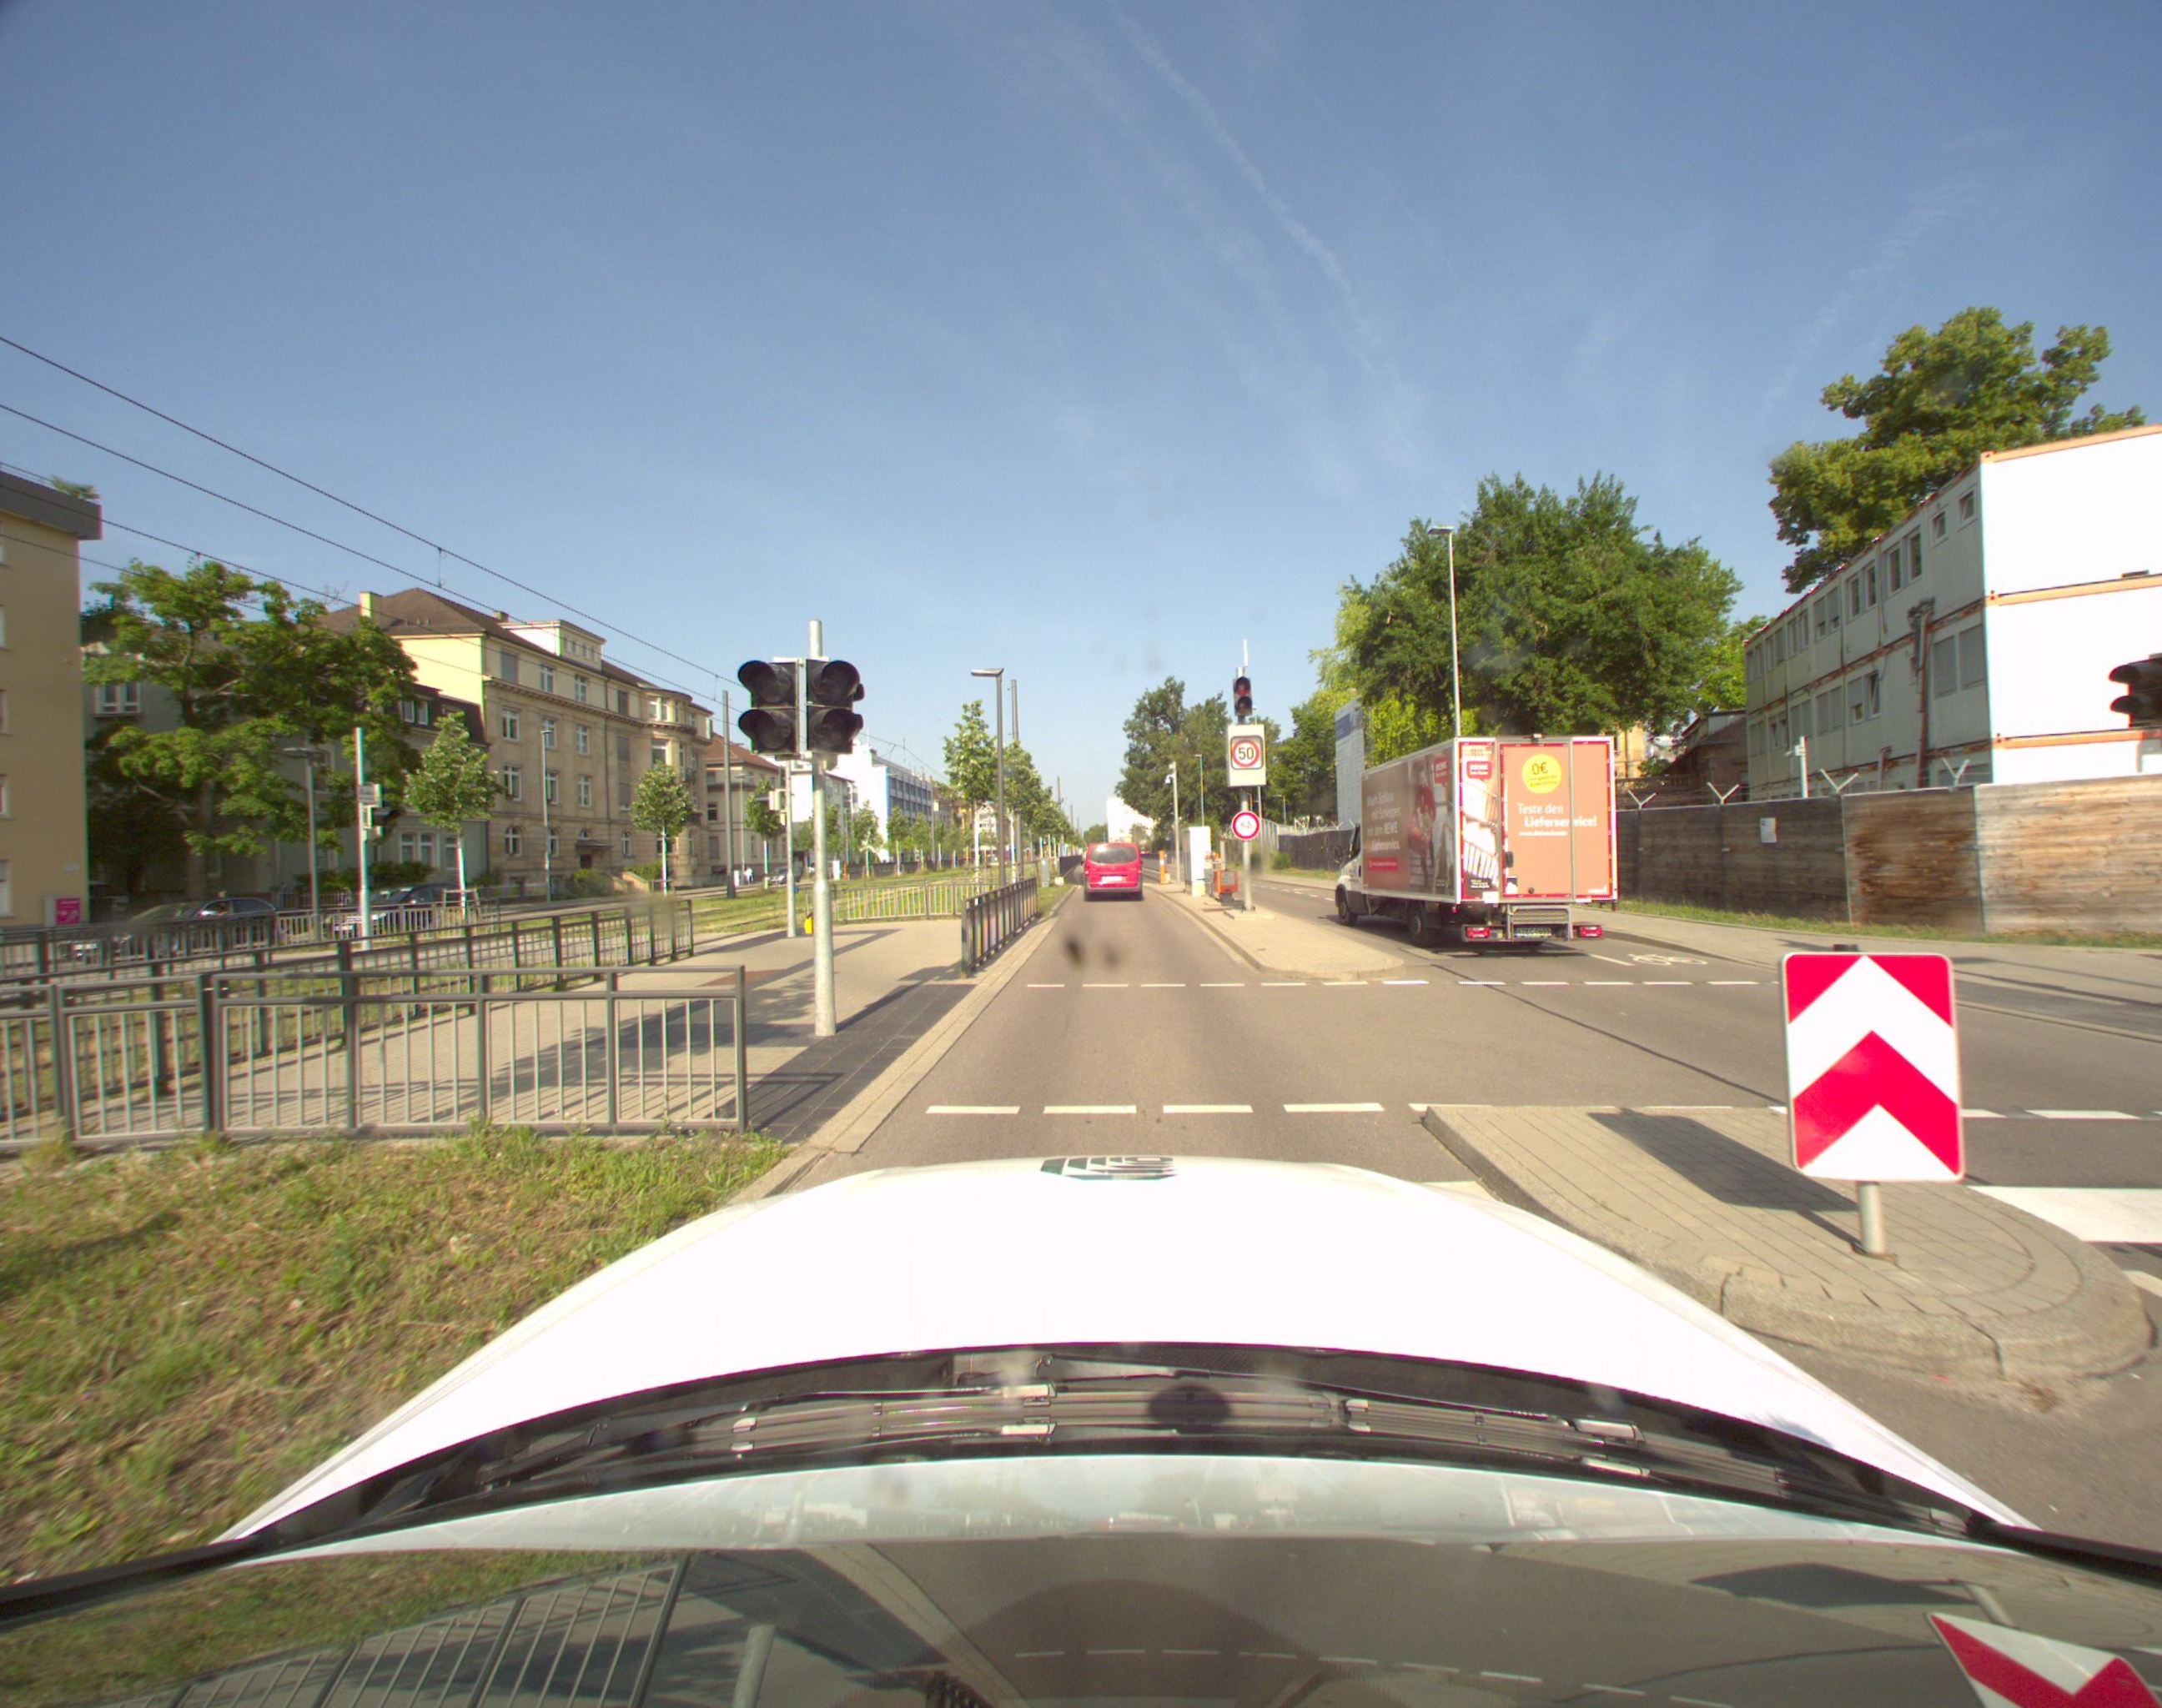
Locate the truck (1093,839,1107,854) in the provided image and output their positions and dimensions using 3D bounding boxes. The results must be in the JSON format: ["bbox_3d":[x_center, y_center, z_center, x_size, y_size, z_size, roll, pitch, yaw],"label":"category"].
[{"bbox_3d":[4.713,-1.852,205.757,3.379,3.726,10.451,-2,0,0],"label":"truck"}]

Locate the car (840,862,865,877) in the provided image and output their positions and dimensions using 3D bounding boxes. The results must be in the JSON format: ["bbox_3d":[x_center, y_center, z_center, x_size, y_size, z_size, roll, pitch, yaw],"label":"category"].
[{"bbox_3d":[-25.052,1.652,89.389,1.514,1.464,3.824,-2,1,0],"label":"car"}]

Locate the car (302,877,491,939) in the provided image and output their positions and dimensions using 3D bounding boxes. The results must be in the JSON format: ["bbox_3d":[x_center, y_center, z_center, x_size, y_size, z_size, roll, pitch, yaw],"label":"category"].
[{"bbox_3d":[-20.505,1.550,24.688,1.987,1.513,4.396,-2,0,-1],"label":"car"}]

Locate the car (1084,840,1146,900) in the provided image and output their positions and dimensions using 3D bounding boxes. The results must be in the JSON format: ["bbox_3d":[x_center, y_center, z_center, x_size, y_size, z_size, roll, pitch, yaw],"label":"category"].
[{"bbox_3d":[1.133,0.497,27.004,1.893,1.859,4.003,0,0,2],"label":"car"}]

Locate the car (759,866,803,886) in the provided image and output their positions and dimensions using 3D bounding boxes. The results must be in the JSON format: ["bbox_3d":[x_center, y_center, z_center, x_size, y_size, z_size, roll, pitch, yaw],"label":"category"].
[{"bbox_3d":[-25.762,1.867,70.113,1.987,1.577,4.528,-2,0,0],"label":"car"}]

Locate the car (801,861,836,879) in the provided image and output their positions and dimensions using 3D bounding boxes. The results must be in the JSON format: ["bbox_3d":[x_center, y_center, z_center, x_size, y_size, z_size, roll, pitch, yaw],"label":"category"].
[{"bbox_3d":[-29.784,1.817,92.579,2.242,2.014,5.261,0,-2,0],"label":"car"}]

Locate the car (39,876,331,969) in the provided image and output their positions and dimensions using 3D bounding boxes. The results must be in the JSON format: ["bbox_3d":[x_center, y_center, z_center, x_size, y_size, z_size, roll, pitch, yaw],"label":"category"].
[{"bbox_3d":[-23.703,1.698,21.972,1.987,2.013,5.301,-2,0,-1],"label":"car"}]

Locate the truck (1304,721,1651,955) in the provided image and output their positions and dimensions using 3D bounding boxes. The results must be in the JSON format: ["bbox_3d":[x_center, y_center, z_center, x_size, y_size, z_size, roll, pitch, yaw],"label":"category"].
[{"bbox_3d":[6.253,-0.179,14.570,2.493,3.061,7.820,0,-1,1],"label":"truck"}]

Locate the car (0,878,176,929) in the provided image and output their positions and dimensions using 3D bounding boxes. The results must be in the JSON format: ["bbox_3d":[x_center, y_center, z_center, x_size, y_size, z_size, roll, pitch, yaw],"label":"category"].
[{"bbox_3d":[-40.733,2.002,33.421,4.614,1.748,2.165,-3,0,-1],"label":"car"}]
